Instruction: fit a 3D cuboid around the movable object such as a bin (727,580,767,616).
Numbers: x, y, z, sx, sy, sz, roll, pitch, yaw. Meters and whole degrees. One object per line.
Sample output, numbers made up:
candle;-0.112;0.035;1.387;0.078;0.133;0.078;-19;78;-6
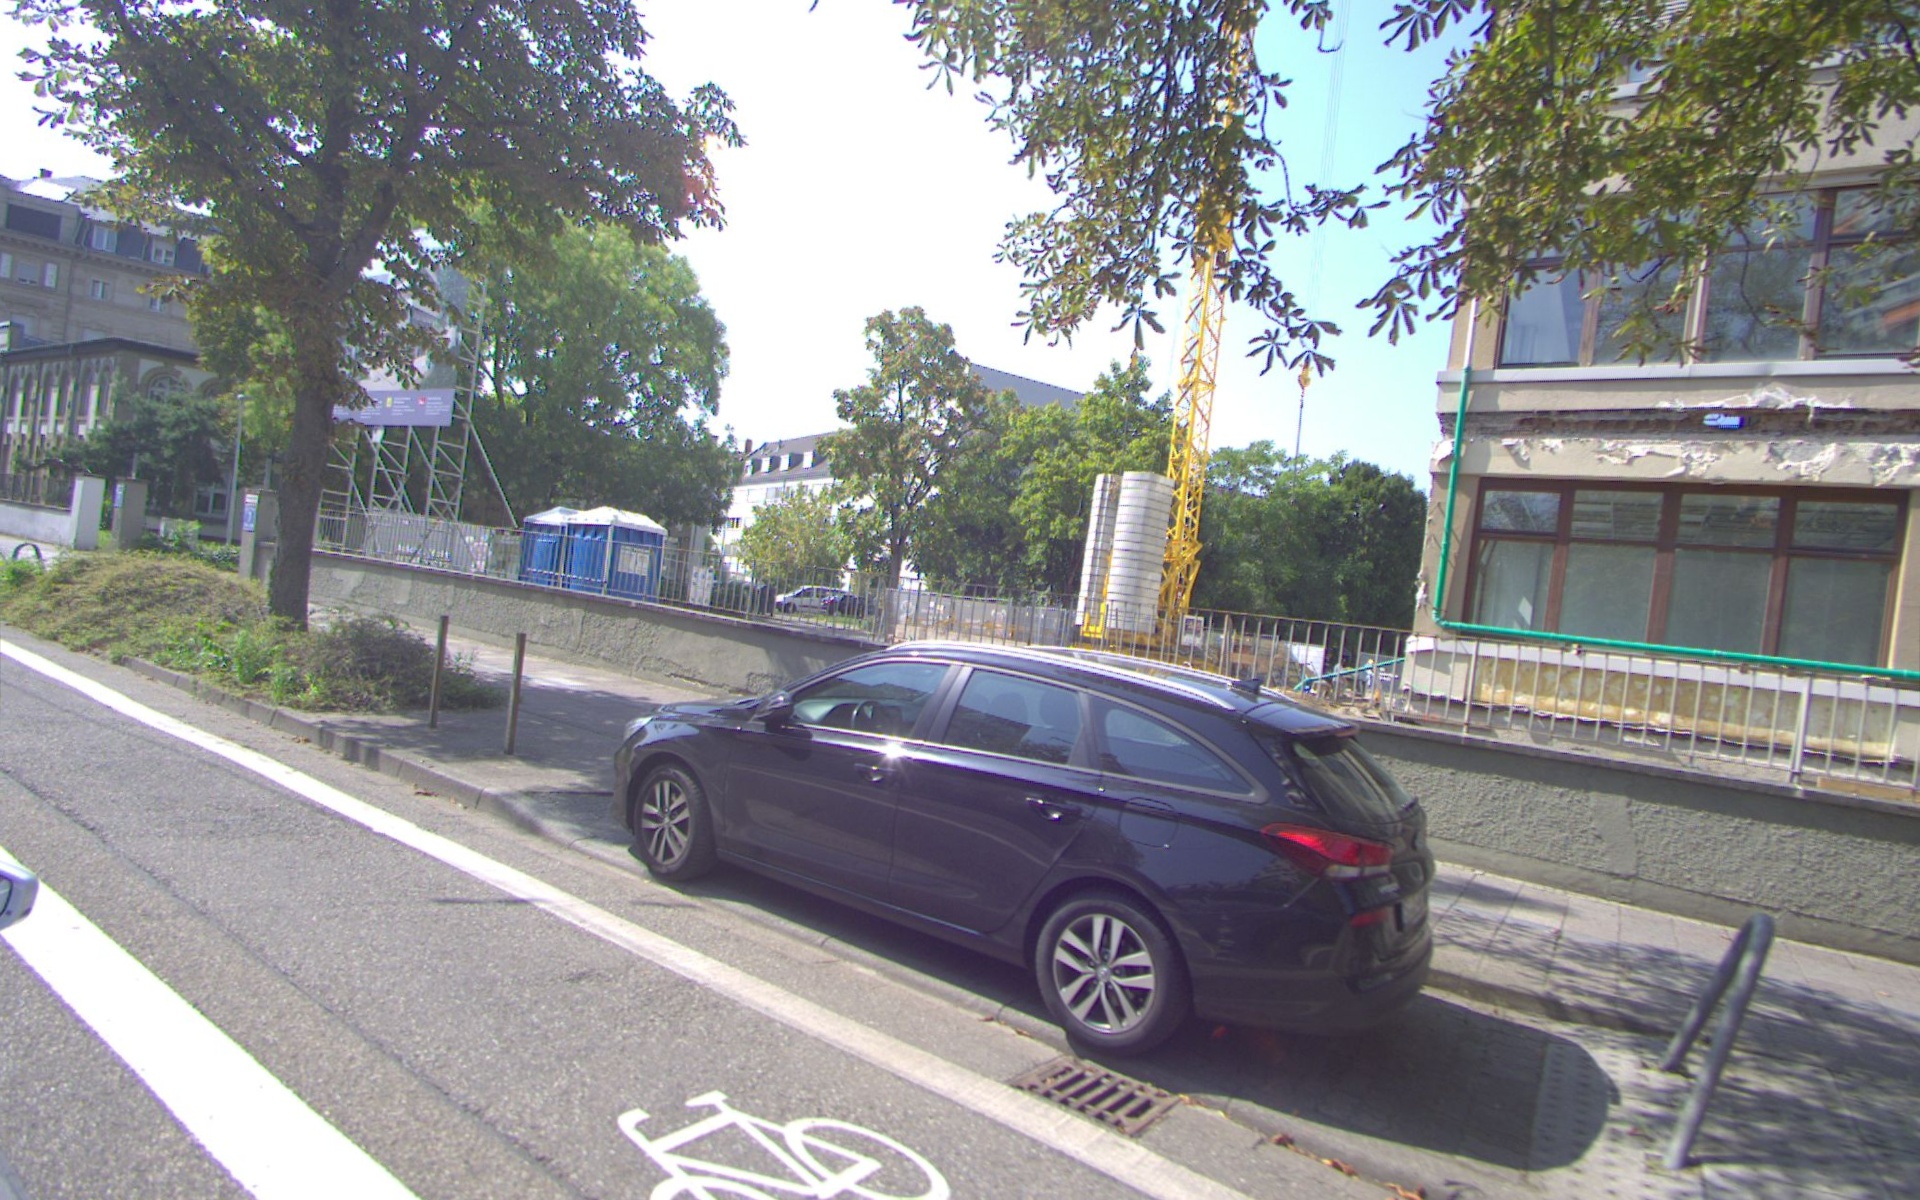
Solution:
movable object such as a bin;-9.930;-0.099;46.900;1.239;1.449;1.319;8;1;-35

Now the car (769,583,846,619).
car;-9.466;0.070;62.347;4.253;1.613;1.788;8;-1;-27

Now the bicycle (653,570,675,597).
bicycle;-15.350;-0.861;52.153;0.601;1.318;2.161;7;-1;-25

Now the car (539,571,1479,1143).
car;-0.029;0.858;5.251;4.589;1.476;1.675;7;1;34

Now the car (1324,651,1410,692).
car;20.439;3.568;50.736;1.852;1.546;3.899;7;-1;-16

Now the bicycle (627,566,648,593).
bicycle;-16.536;-1.063;51.534;0.601;1.318;2.161;7;-1;-25

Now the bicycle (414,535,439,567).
bicycle;-24.592;-2.239;46.419;0.762;1.318;2.511;7;-1;-25

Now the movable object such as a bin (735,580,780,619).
movable object such as a bin;-9.163;-0.026;45.516;1.327;1.511;1.356;7;1;-43

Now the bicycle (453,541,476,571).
bicycle;-23.335;-2.059;47.385;0.762;1.318;2.511;7;-1;-25

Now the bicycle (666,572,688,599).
bicycle;-14.757;-0.772;52.478;0.601;1.318;2.161;7;-1;-25
